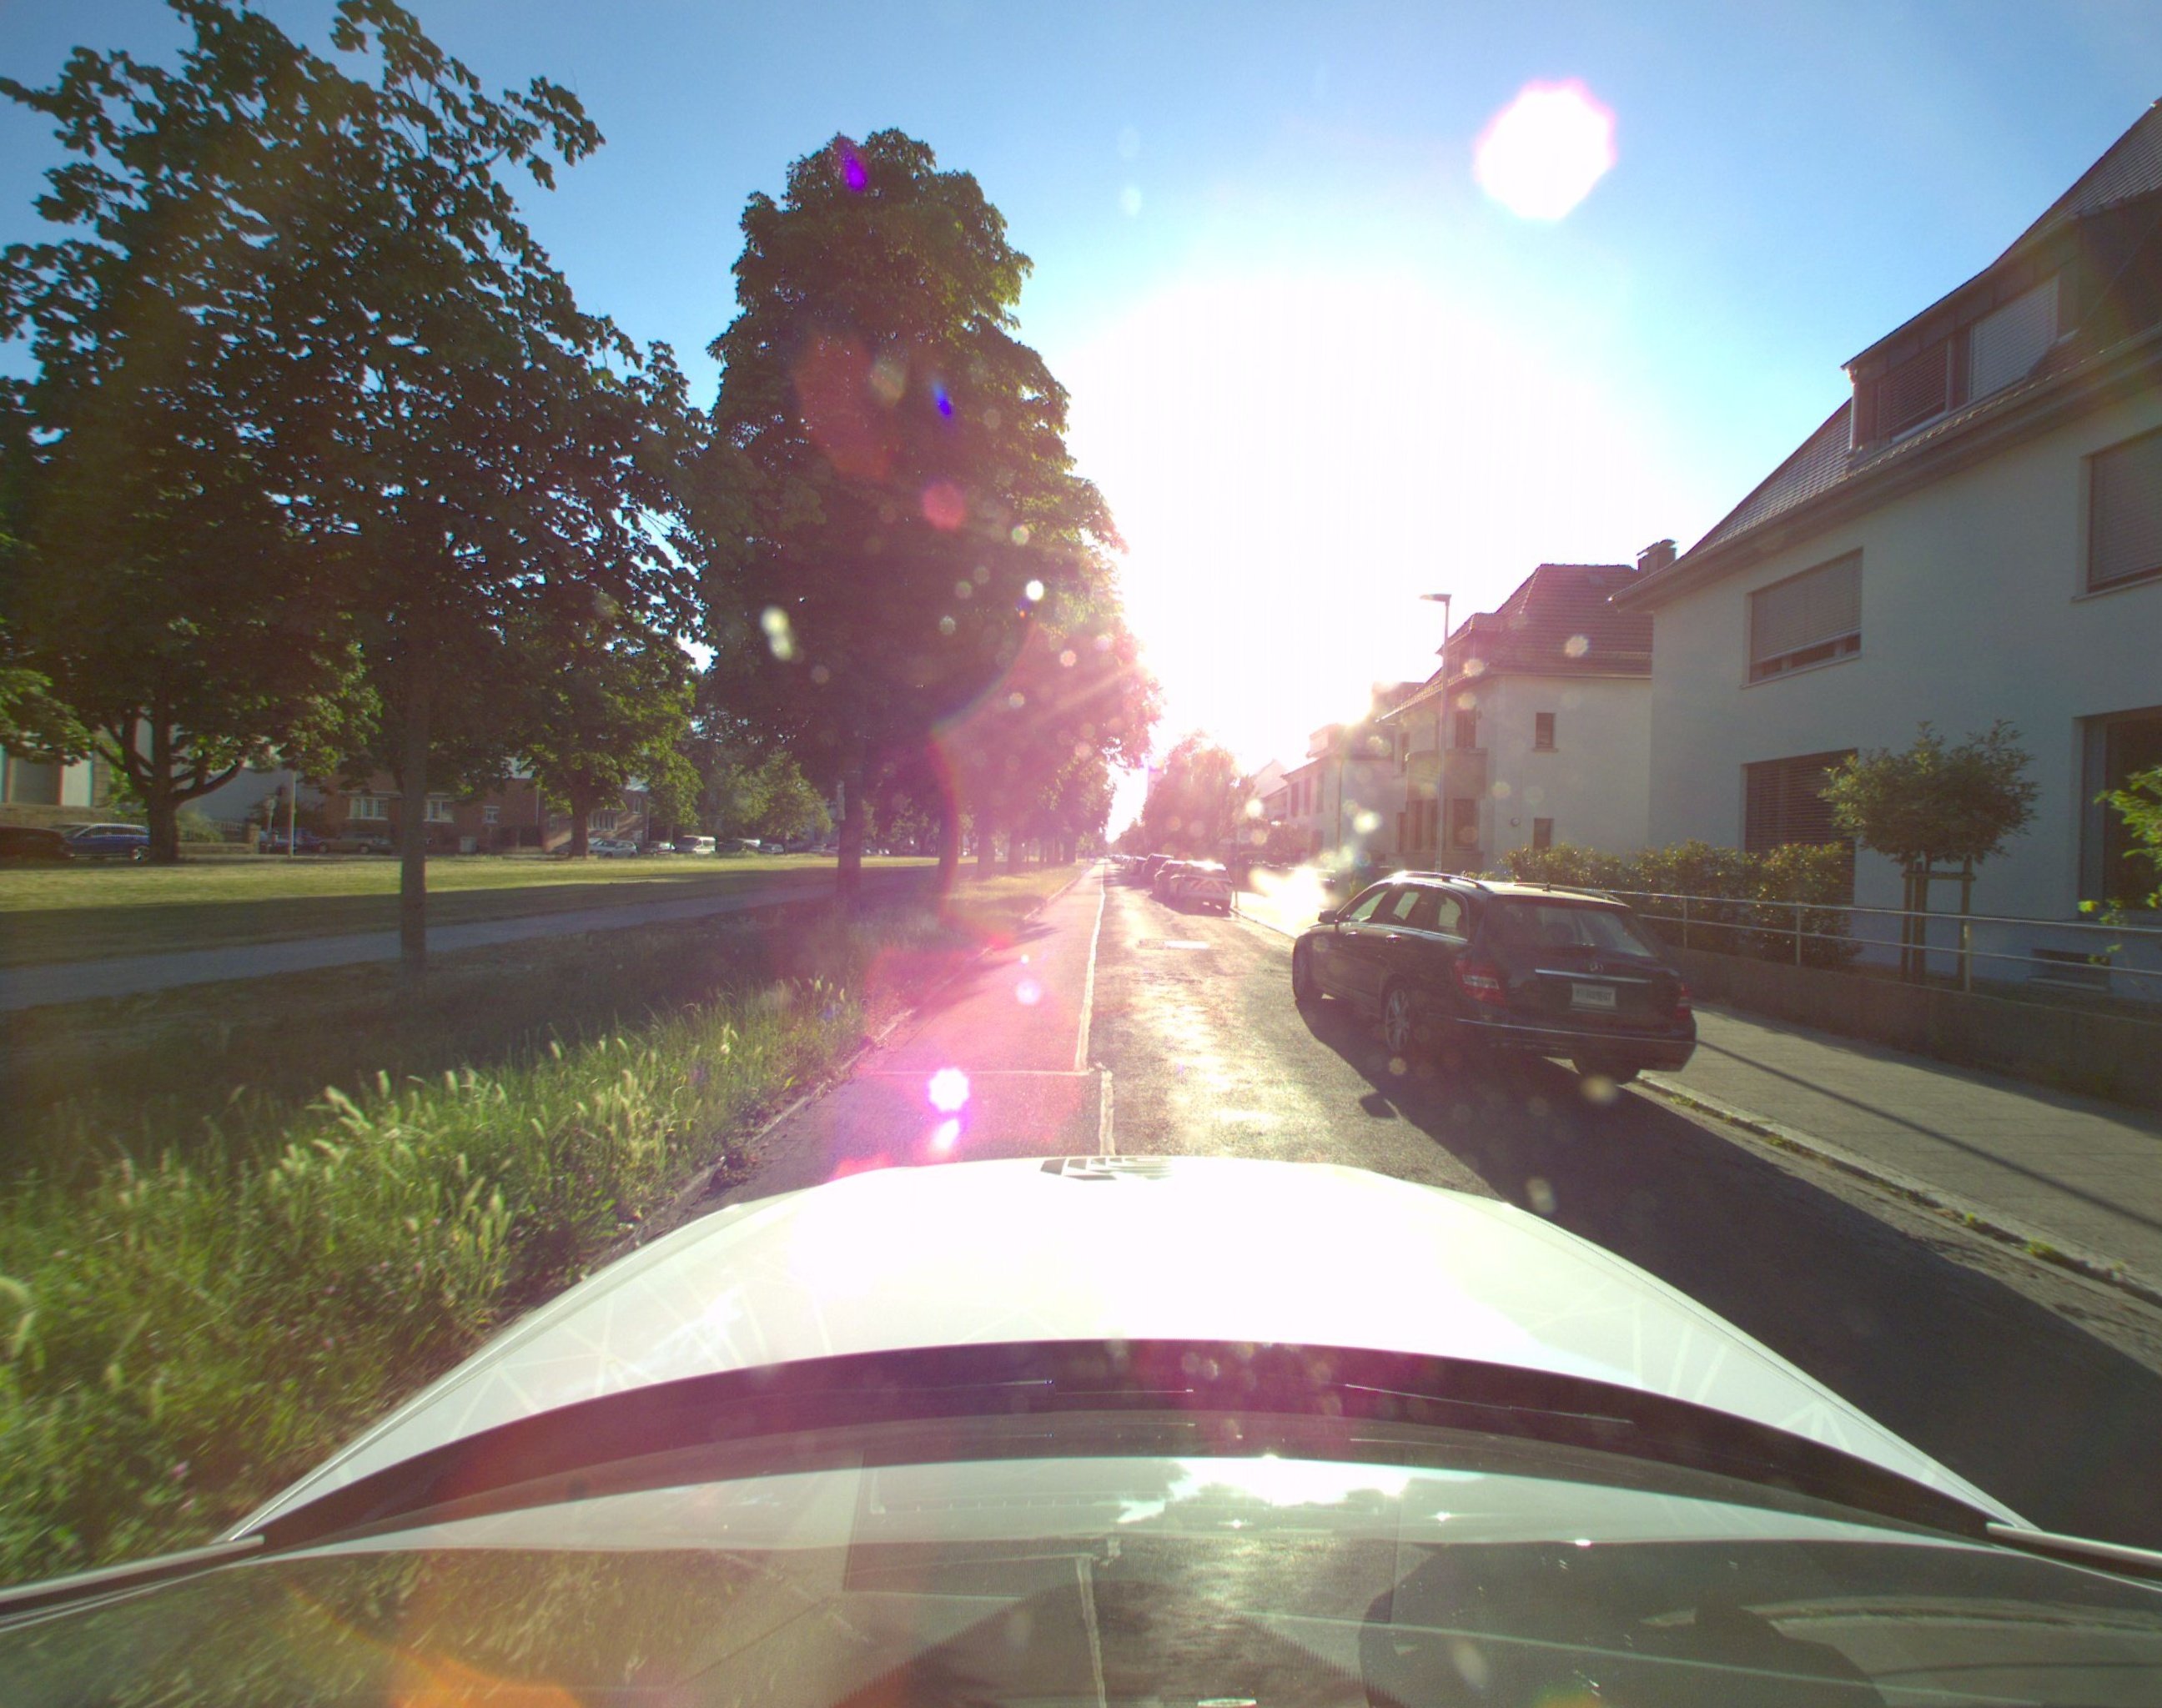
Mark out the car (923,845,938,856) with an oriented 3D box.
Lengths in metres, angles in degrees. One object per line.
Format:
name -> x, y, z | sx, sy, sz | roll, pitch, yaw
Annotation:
car -> -29.124, -0.687, 157.646 | 1.678, 2.175, 4.317 | 2, 1, 3

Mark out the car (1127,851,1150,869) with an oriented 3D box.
car -> 5.428, 0.554, 77.626 | 1.687, 1.483, 3.926 | 5, 0, -2

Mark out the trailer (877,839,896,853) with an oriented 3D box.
trailer -> -35.123, -1.429, 147.092 | 1.986, 2.428, 4.726 | 1, 0, 2

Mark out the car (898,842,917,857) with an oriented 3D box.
car -> -34.807, -0.804, 163.665 | 2.428, 2.922, 5.820 | -1, 0, 2

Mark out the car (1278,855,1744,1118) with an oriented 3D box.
car -> 3.222, 0.831, 7.280 | 1.774, 1.499, 4.397 | 4, 0, 0

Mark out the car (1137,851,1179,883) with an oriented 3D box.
car -> 4.422, 0.702, 47.557 | 1.987, 1.737, 4.864 | 2, 0, 0

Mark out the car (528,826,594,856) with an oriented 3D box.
car -> -37.513, -0.906, 58.897 | 1.750, 2.013, 4.371 | 2, 0, 2

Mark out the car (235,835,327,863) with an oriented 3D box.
car -> -50.068, -0.317, 51.003 | 3.883, 1.574, 1.836 | 1, 0, 0

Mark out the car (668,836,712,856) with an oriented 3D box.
car -> -37.072, -0.735, 77.305 | 1.809, 1.838, 4.410 | 2, 0, 2

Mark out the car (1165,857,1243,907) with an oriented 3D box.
car -> 4.079, 0.879, 27.707 | 1.987, 1.464, 4.550 | 3, 0, 1

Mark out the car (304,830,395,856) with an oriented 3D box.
car -> -45.780, -0.691, 51.034 | 3.971, 1.486, 1.866 | 2, 0, 2

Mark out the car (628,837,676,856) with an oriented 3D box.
car -> -37.694, -0.662, 71.739 | 1.750, 1.623, 4.307 | 2, 0, 2

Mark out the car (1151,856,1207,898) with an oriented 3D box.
car -> 3.943, 0.890, 33.362 | 1.773, 1.463, 4.595 | 4, 0, 1

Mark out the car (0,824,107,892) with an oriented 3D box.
car -> -33.154, 0.086, 24.340 | 1.985, 2.013, 4.880 | 1, 0, 3

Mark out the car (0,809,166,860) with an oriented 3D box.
car -> -38.478, -0.722, 30.728 | 1.984, 1.750, 5.014 | 2, 0, 4

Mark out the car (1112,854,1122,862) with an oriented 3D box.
car -> 7.163, 0.753, 163.620 | 1.753, 1.605, 4.359 | 1, 0, 0

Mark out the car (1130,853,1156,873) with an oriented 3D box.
car -> 5.060, 0.703, 66.895 | 1.787, 1.492, 4.675 | 2, 0, 1

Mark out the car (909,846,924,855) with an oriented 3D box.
car -> -29.712, -0.546, 147.281 | 1.678, 1.559, 4.317 | 1, 0, 3

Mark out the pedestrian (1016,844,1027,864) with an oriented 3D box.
pedestrian -> -5.487, 0.000, 75.290 | 0.720, 1.758, 0.995 | 1, 0, 8

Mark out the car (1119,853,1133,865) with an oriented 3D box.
car -> 6.623, 0.745, 119.929 | 1.750, 1.419, 4.074 | 8, 0, 2

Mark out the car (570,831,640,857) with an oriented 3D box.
car -> -32.157, -0.656, 55.192 | 1.812, 1.639, 4.652 | 2, 0, 1

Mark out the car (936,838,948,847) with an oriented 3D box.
car -> -34.319, -2.919, 201.353 | 1.986, 2.014, 4.485 | -1, -1, 1

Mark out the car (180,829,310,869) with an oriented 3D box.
car -> -46.391, -0.250, 45.263 | 4.836, 1.609, 1.999 | 2, -15, 2

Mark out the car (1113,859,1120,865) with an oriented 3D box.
car -> 10.613, 2.310, 245.159 | 1.972, 1.683, 4.003 | 1, 0, 3

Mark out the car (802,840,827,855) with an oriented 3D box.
car -> -36.256, -0.835, 110.868 | 2.023, 2.014, 4.002 | -1, 0, 2
